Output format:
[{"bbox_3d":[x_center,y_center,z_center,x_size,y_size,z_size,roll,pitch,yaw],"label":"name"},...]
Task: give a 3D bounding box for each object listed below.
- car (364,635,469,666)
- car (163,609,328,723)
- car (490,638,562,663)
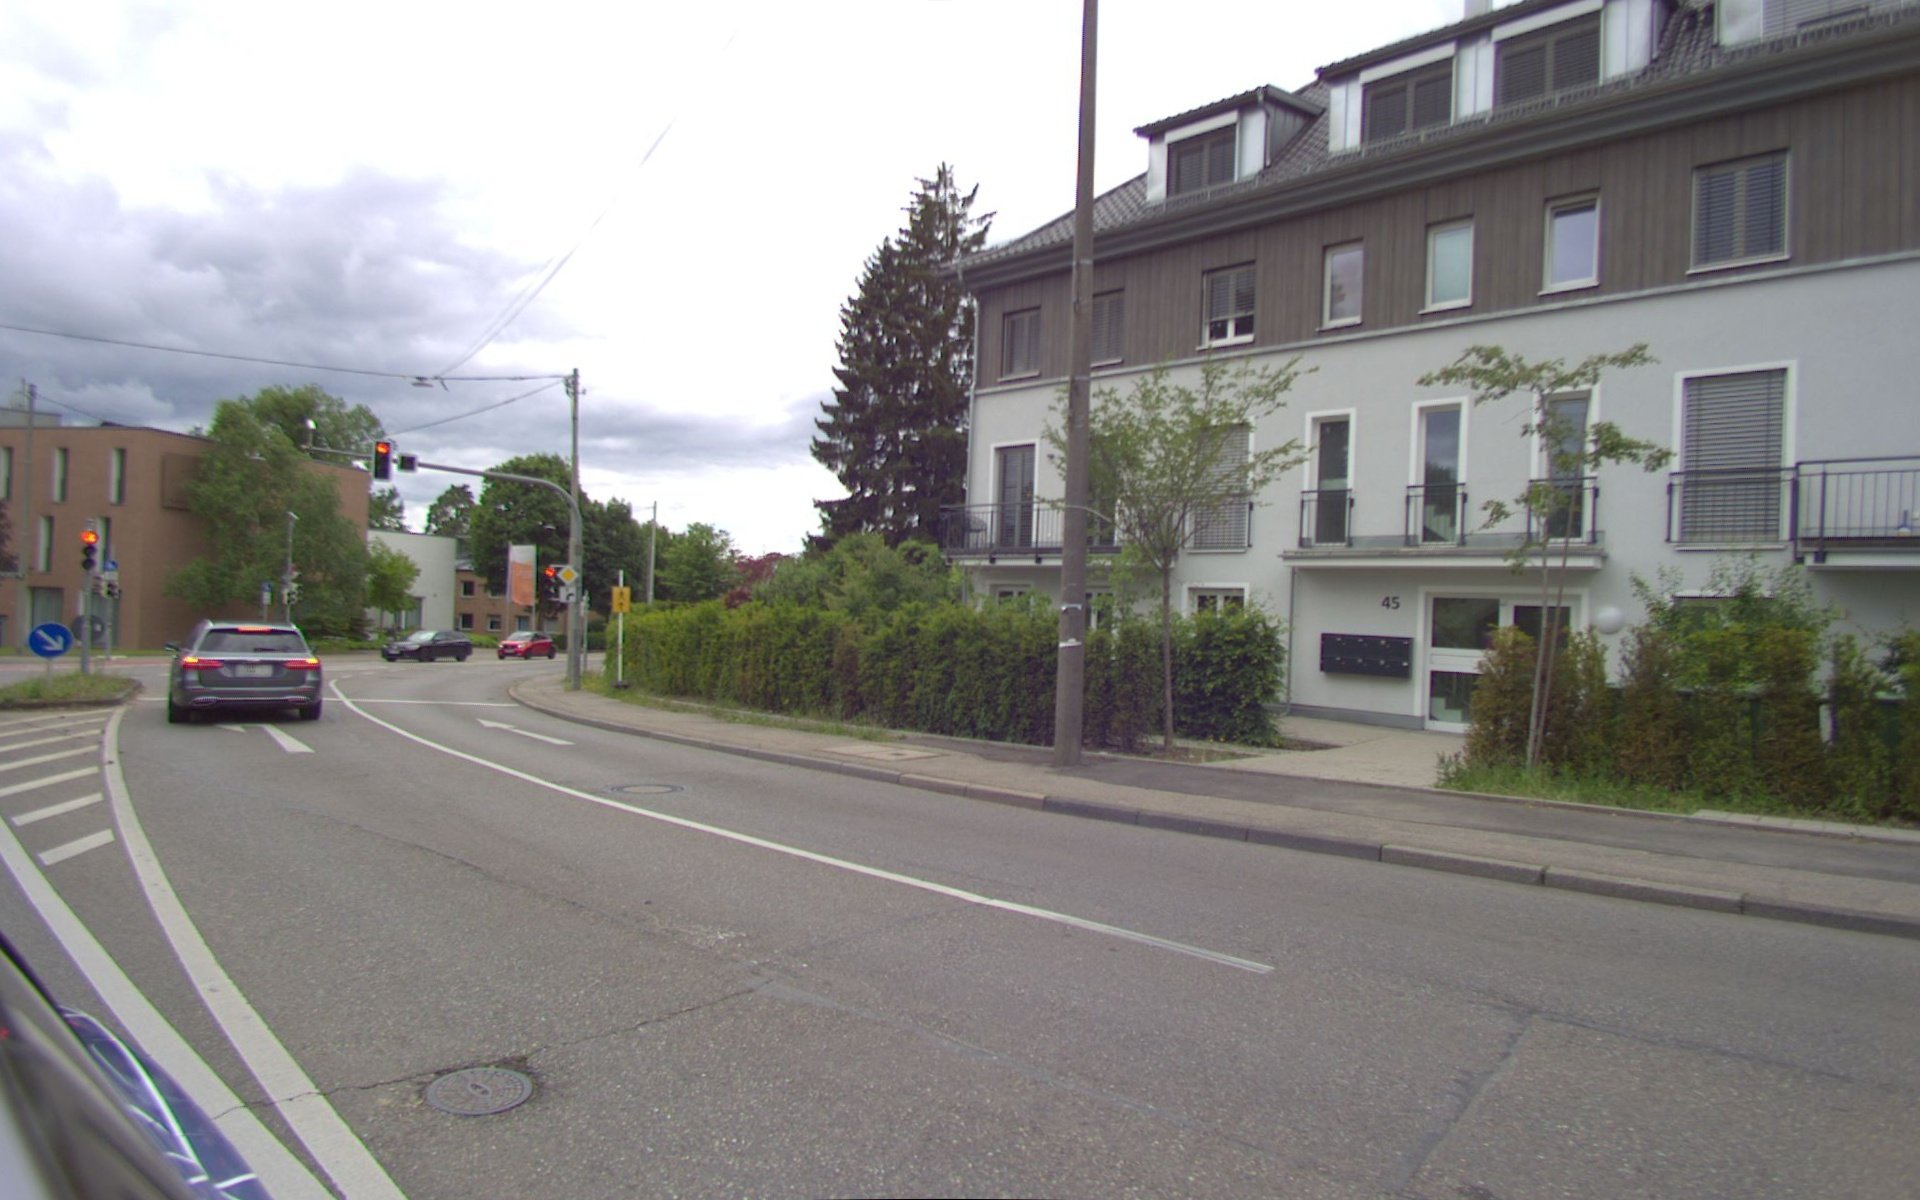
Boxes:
[{"bbox_3d":[-24.781,2.276,46.326,1.984,1.253,3.976,1,-1,18],"label":"car"},{"bbox_3d":[-11.245,0.972,15.813,1.802,1.496,4.757,3,-3,-38],"label":"car"},{"bbox_3d":[-23.524,2.698,55.037,1.974,1.209,3.995,1,-1,4],"label":"car"}]
